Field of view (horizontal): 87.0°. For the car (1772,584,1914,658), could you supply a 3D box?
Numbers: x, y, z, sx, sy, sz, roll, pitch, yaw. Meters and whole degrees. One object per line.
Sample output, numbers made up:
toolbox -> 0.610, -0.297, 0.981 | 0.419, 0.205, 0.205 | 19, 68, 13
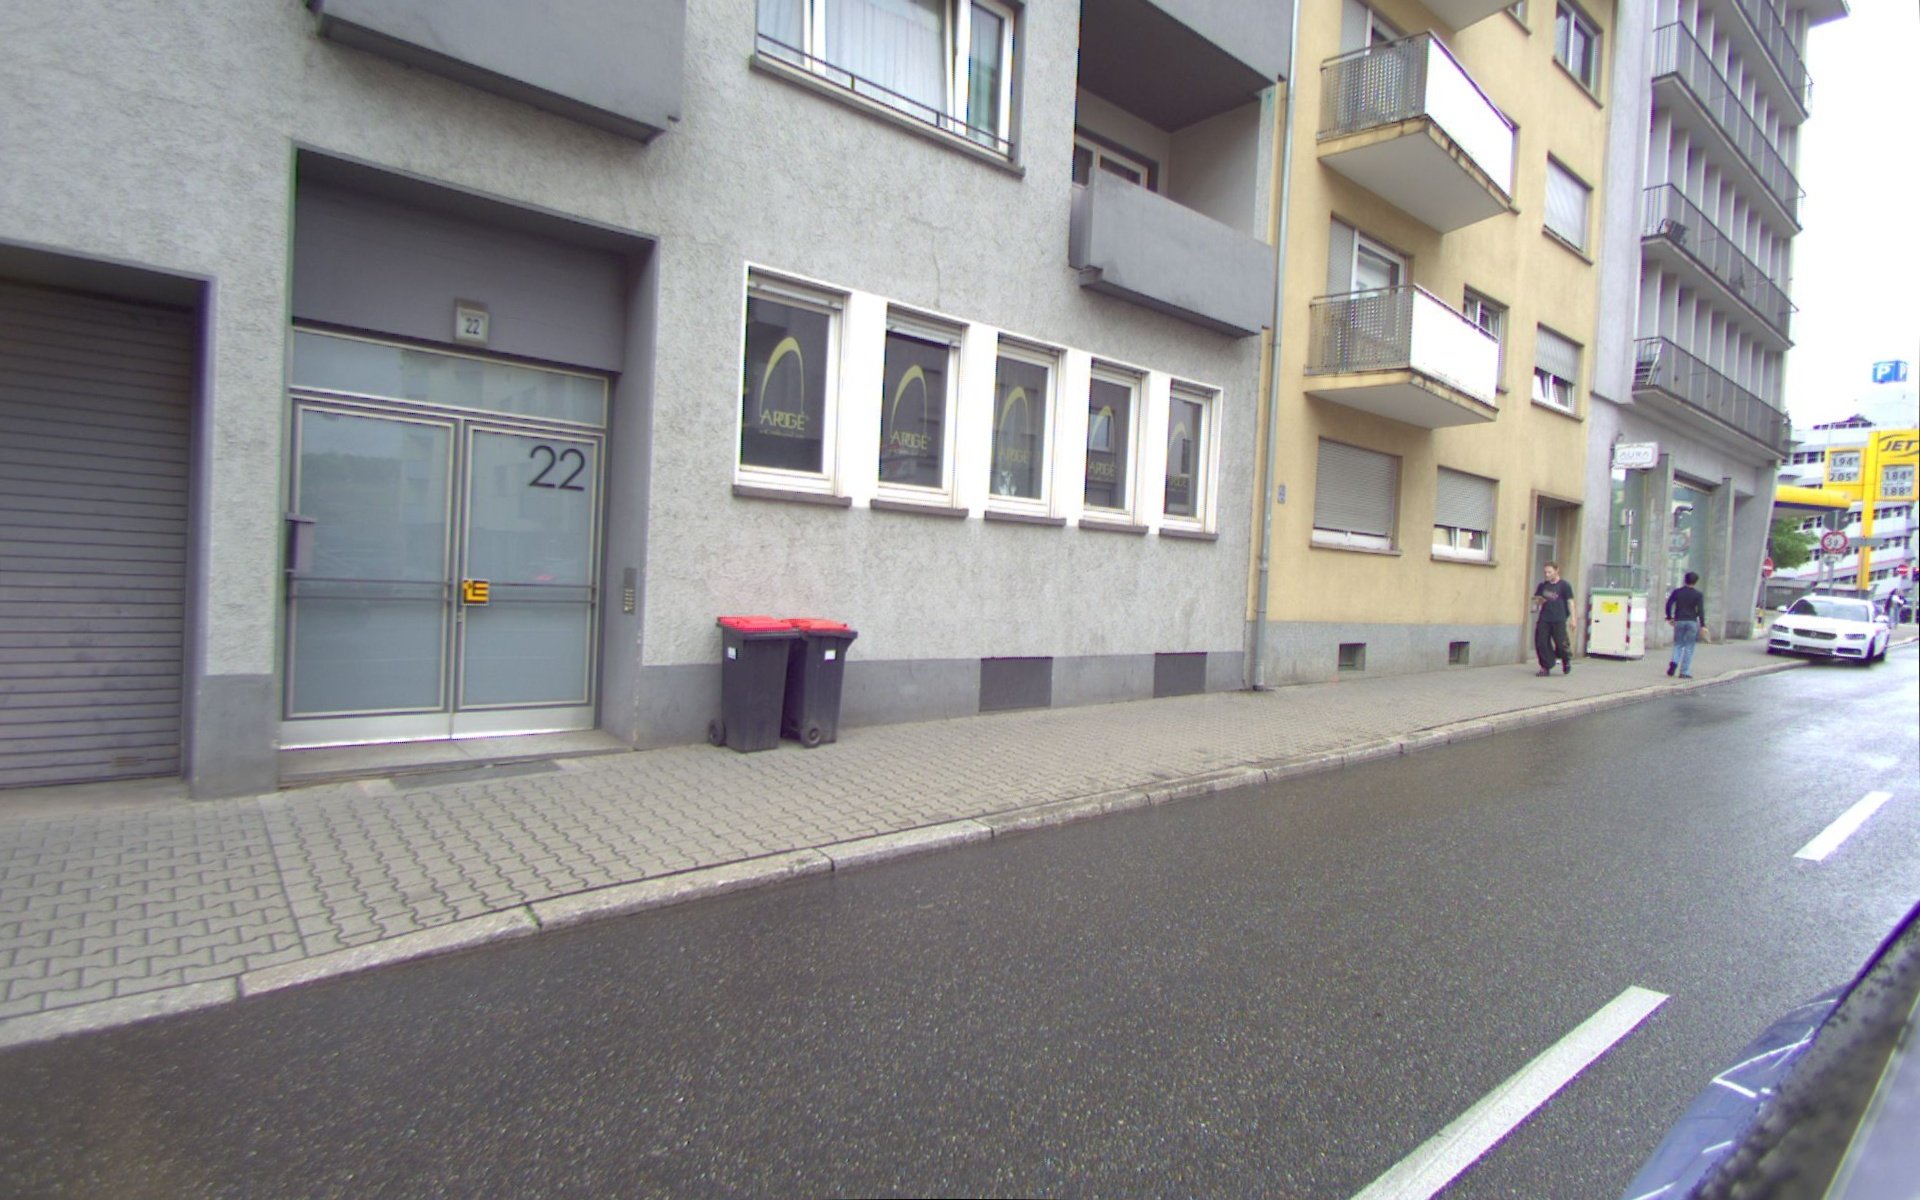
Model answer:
car -> 20.113, 0.415, 23.000 | 4.093, 1.453, 1.803 | 0, 4, -41

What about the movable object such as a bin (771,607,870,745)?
movable object such as a bin -> -1.078, 0.560, 7.779 | 0.506, 0.961, 0.541 | 0, 5, -40

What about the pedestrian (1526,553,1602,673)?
pedestrian -> 9.373, 0.183, 15.702 | 0.872, 1.777, 0.679 | 0, 2, -39

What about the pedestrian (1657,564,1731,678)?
pedestrian -> 12.222, 0.328, 16.846 | 1.038, 1.799, 0.644 | 0, 5, -41

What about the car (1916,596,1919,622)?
car -> 55.739, 0.515, 55.933 | 1.736, 1.463, 4.006 | 0, 0, -8

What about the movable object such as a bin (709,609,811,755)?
movable object such as a bin -> -1.472, 0.579, 7.428 | 0.506, 0.967, 0.541 | 0, 5, -40
